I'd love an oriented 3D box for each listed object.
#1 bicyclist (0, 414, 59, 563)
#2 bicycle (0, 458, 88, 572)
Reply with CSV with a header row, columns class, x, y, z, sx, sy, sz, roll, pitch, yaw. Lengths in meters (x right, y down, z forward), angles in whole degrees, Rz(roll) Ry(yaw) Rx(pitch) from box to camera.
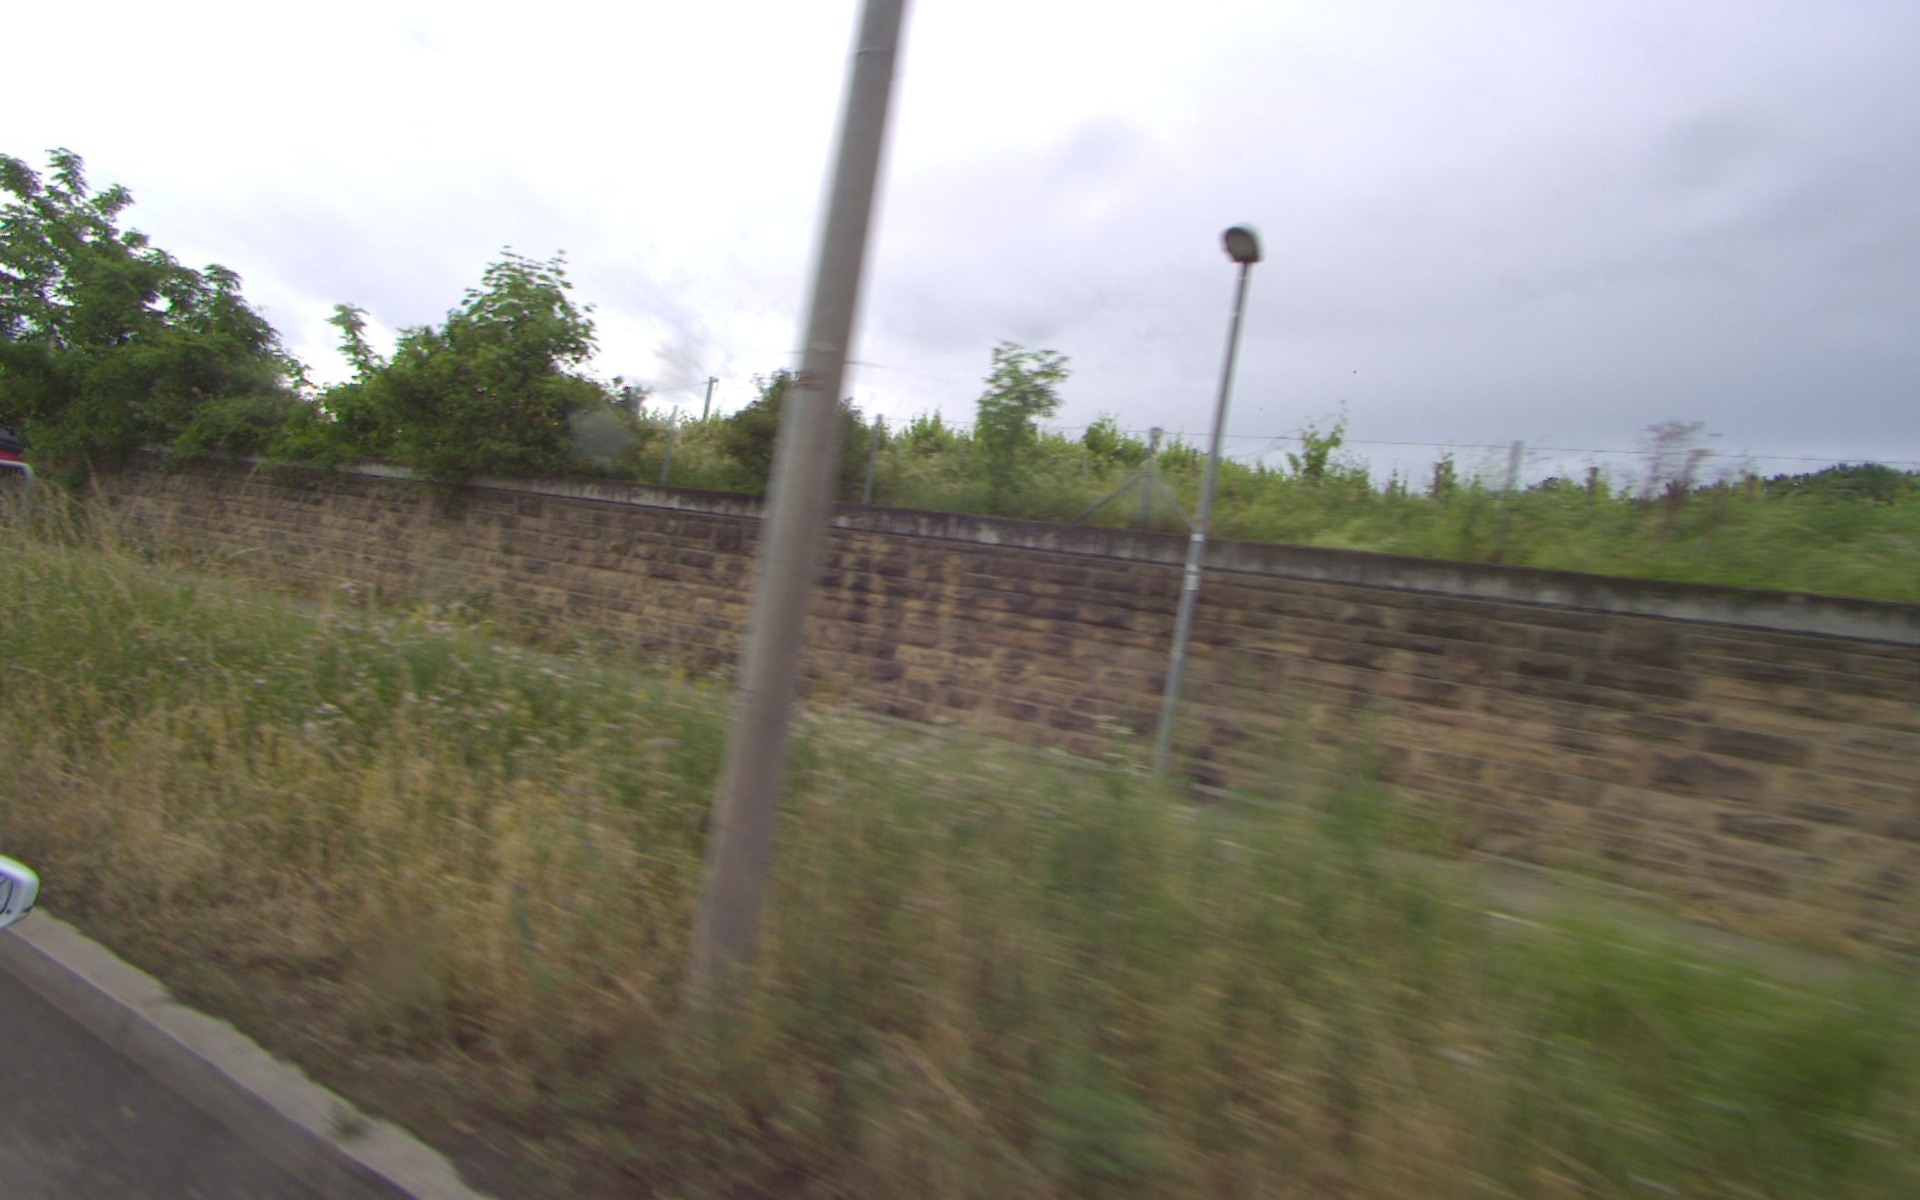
class,x,y,z,sx,sy,sz,roll,pitch,yaw
bicyclist,-13.563,-1.613,13.983,1.271,1.927,0.873,8,-4,28
bicycle,-13.519,-1.309,13.924,3.426,1.301,0.873,9,-4,28
